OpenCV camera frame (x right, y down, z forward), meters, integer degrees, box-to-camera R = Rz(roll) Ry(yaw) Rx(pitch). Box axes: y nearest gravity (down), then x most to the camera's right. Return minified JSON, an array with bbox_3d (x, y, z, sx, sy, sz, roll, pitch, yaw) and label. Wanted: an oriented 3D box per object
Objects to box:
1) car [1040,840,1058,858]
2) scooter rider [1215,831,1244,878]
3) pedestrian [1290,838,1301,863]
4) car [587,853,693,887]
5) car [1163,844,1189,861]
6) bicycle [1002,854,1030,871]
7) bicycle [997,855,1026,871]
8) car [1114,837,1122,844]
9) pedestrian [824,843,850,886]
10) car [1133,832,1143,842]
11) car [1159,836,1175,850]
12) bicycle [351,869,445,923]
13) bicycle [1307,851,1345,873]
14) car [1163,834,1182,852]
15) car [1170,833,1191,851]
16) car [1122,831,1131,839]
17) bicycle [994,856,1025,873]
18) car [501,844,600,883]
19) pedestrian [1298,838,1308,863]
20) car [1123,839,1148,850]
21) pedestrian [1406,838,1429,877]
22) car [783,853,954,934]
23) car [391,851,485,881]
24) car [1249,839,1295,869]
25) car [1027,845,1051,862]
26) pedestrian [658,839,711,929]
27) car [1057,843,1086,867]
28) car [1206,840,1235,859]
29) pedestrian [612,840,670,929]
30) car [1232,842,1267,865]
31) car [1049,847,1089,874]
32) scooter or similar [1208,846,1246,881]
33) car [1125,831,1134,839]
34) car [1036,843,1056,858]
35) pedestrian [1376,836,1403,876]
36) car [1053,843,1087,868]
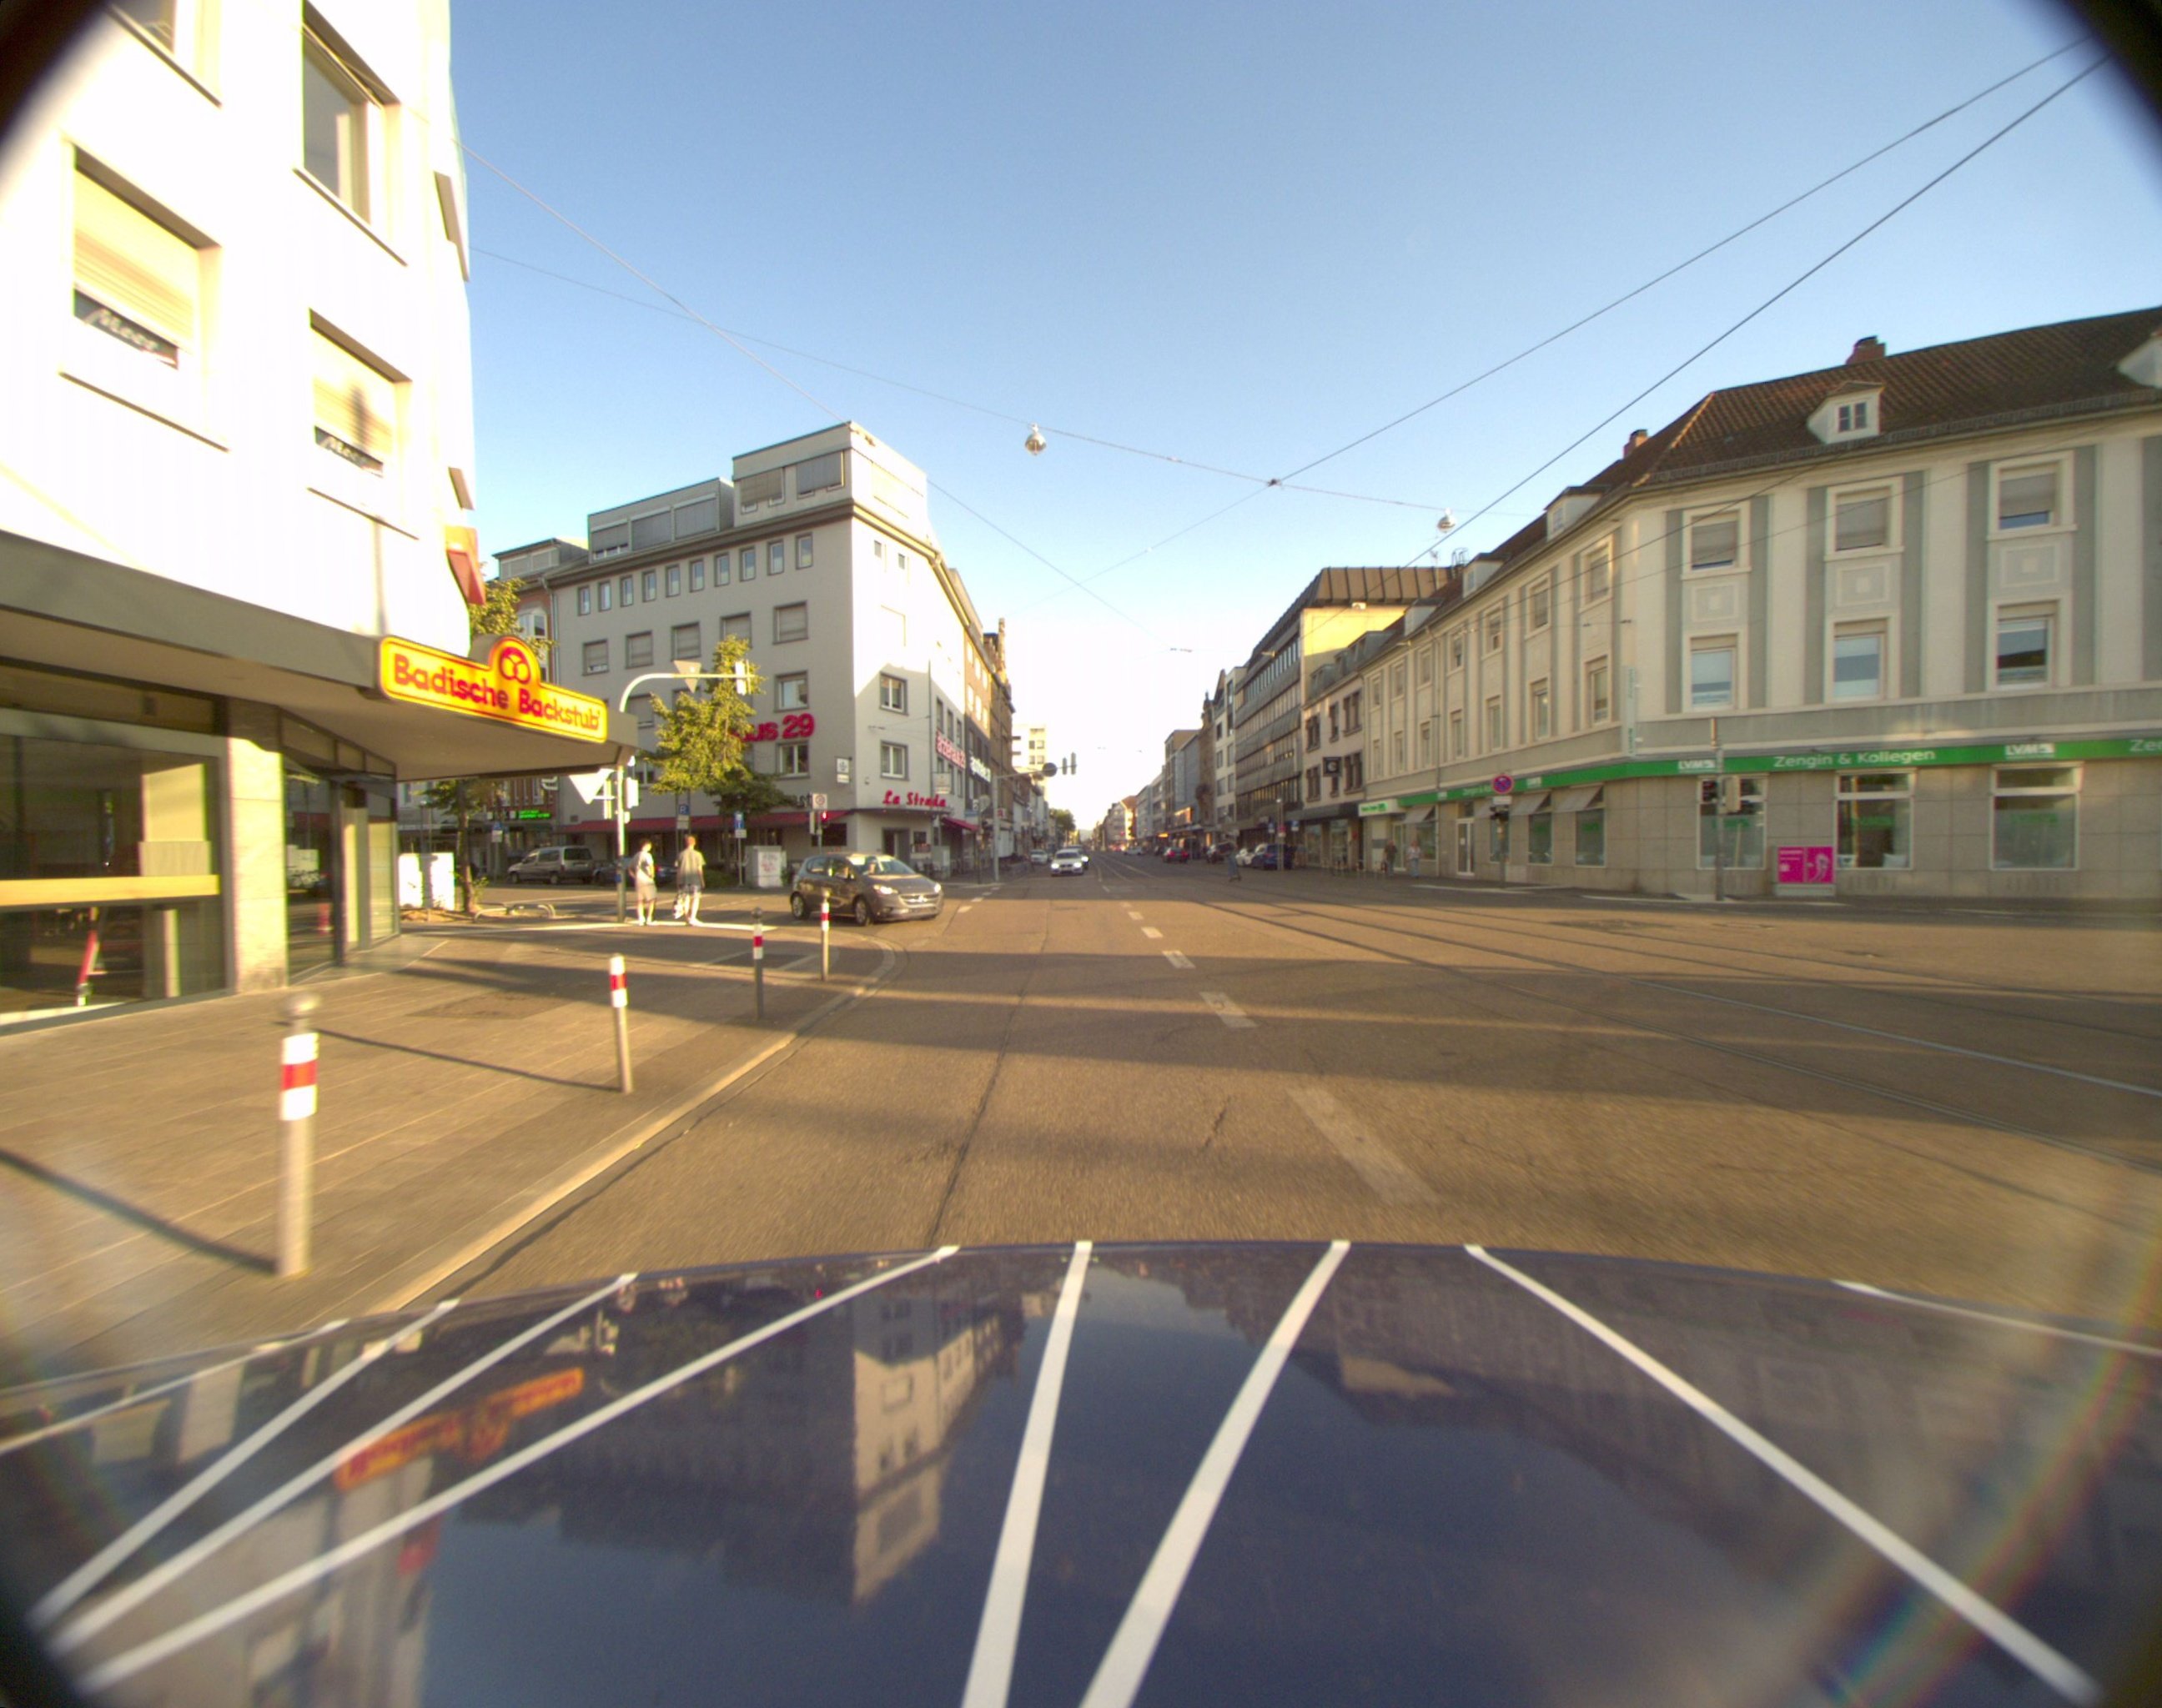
[{"bbox_3d":[-3.725,-0.625,89.092,2.042,2.105,4.385,-1,1,-1],"label":"car"},{"bbox_3d":[5.914,0.012,30.293,0.789,1.797,0.811,-3,4,-39],"label":"scooter rider"},{"bbox_3d":[14.682,-0.227,52.022,0.509,1.675,0.583,-1,3,-1],"label":"pedestrian"},{"bbox_3d":[-18.913,0.664,32.570,4.301,1.345,1.657,1,1,23],"label":"car"},{"bbox_3d":[8.885,-0.147,71.325,1.895,1.471,4.543,1,0,1],"label":"car"},{"bbox_3d":[-4.160,0.519,48.871,1.762,1.065,0.443,0,3,-6],"label":"bicycle"},{"bbox_3d":[-4.333,0.569,47.504,1.762,0.944,0.443,0,3,-6],"label":"bicycle"},{"bbox_3d":[10.727,-4.046,222.790,1.999,2.003,3.997,-1,3,-2],"label":"car"},{"bbox_3d":[-9.541,0.408,29.703,0.799,1.646,0.586,-1,1,-3],"label":"pedestrian"},{"bbox_3d":[12.875,-3.839,171.607,1.975,2.181,4.131,-1,3,0],"label":"car"},{"bbox_3d":[12.936,-1.679,114.415,1.833,1.907,3.998,-1,3,0],"label":"car"},{"bbox_3d":[-16.881,1.012,18.840,0.476,1.187,1.664,-1,1,19],"label":"bicycle"},{"bbox_3d":[12.006,0.386,37.285,1.740,1.052,0.499,0,0,9],"label":"bicycle"},{"bbox_3d":[11.664,-1.415,96.887,1.998,2.048,3.998,-1,3,1],"label":"car"},{"bbox_3d":[11.804,-1.468,90.140,1.998,2.003,3.998,-1,3,1],"label":"car"},{"bbox_3d":[13.063,-5.503,218.522,1.999,2.003,3.997,-1,3,-2],"label":"car"},{"bbox_3d":[-4.325,0.621,45.930,1.829,1.025,0.443,-1,1,-6],"label":"bicycle"},{"bbox_3d":[-24.495,0.415,35.095,3.990,1.655,1.722,0,3,21],"label":"car"},{"bbox_3d":[15.233,-0.260,52.198,0.515,1.725,0.600,-1,3,0],"label":"pedestrian"},{"bbox_3d":[9.199,-1.571,128.017,3.826,1.739,1.810,1,3,30],"label":"car"},{"bbox_3d":[14.363,0.131,32.450,0.826,1.631,0.815,-1,1,20],"label":"pedestrian"},{"bbox_3d":[-4.535,0.733,15.951,3.831,1.445,1.591,1,2,41],"label":"car"},{"bbox_3d":[-32.980,0.597,38.970,4.407,1.385,1.808,1,2,23],"label":"car"},{"bbox_3d":[12.531,-0.072,50.004,1.915,1.786,4.128,-2,2,0],"label":"car"},{"bbox_3d":[-3.974,-0.078,72.082,2.042,1.550,4.385,-1,1,-1],"label":"car"},{"bbox_3d":[-7.987,0.590,15.343,0.749,1.763,0.586,-1,1,-7],"label":"pedestrian"},{"bbox_3d":[-0.659,0.046,56.369,1.998,1.630,3.999,-1,1,1],"label":"car"},{"bbox_3d":[12.396,-0.408,67.758,1.819,1.549,3.998,-1,3,0],"label":"car"},{"bbox_3d":[-8.920,0.603,15.433,0.749,1.763,0.639,-1,1,3],"label":"pedestrian"},{"bbox_3d":[12.373,-0.046,56.013,1.701,1.614,3.999,-1,1,0],"label":"car"},{"bbox_3d":[-0.632,0.339,43.113,1.914,1.350,3.746,-2,1,3],"label":"car"},{"bbox_3d":[5.814,0.364,30.228,1.672,1.343,0.544,-2,2,-41],"label":"scooter or similar"},{"bbox_3d":[13.531,-5.262,212.709,1.999,2.003,3.997,-1,3,-2],"label":"car"},{"bbox_3d":[-3.833,-0.372,83.865,2.042,1.550,4.385,-1,1,-1],"label":"car"},{"bbox_3d":[13.781,0.080,33.962,0.827,1.718,0.813,-2,1,0],"label":"pedestrian"},{"bbox_3d":[-0.698,0.077,50.639,1.998,1.471,3.999,0,3,3],"label":"car"}]
